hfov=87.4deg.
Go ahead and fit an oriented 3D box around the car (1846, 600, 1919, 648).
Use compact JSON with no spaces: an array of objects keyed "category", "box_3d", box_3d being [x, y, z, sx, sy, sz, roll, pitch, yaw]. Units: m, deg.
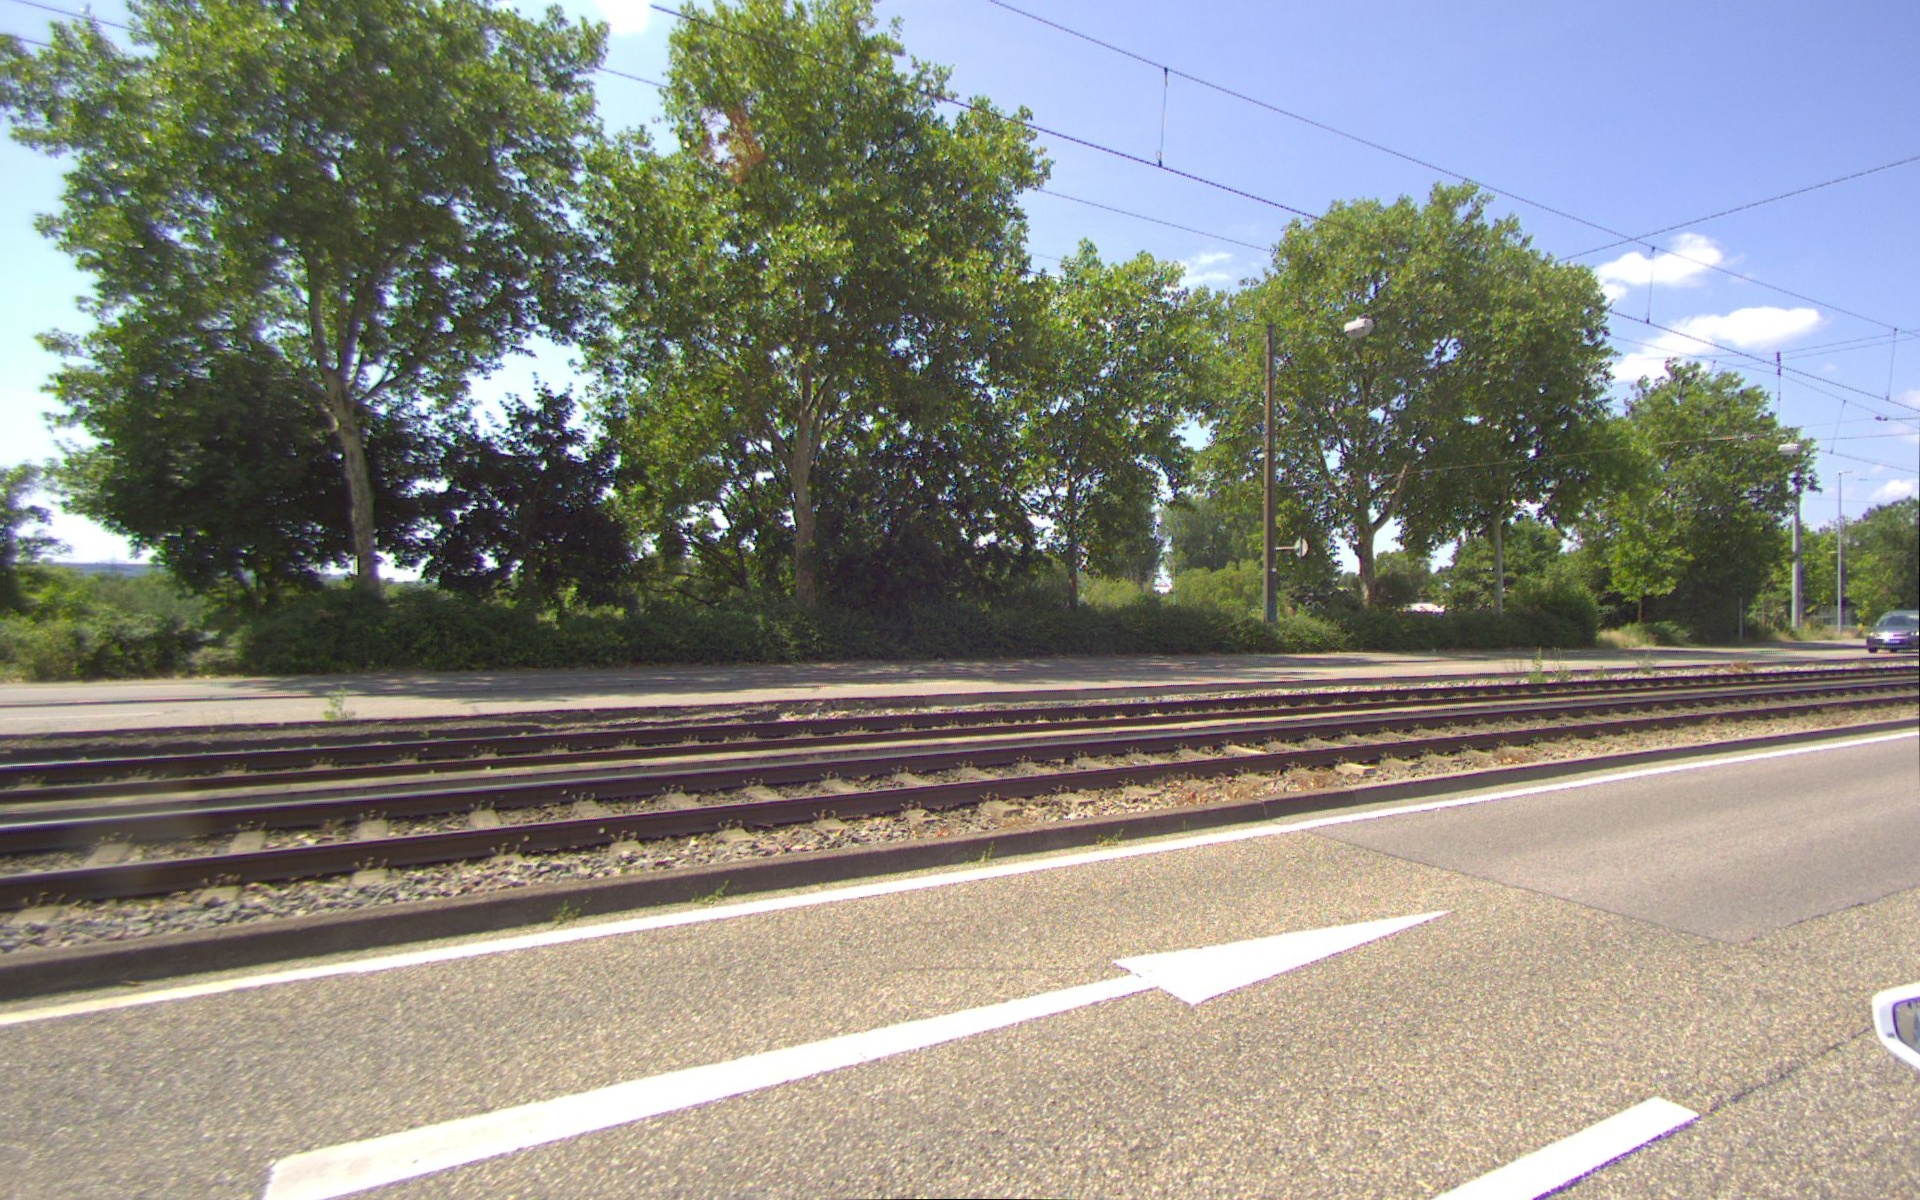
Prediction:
[{"category":"car","box_3d":[38.630,0.993,41.298,4.914,1.854,1.983,0,-2,-32]}]
